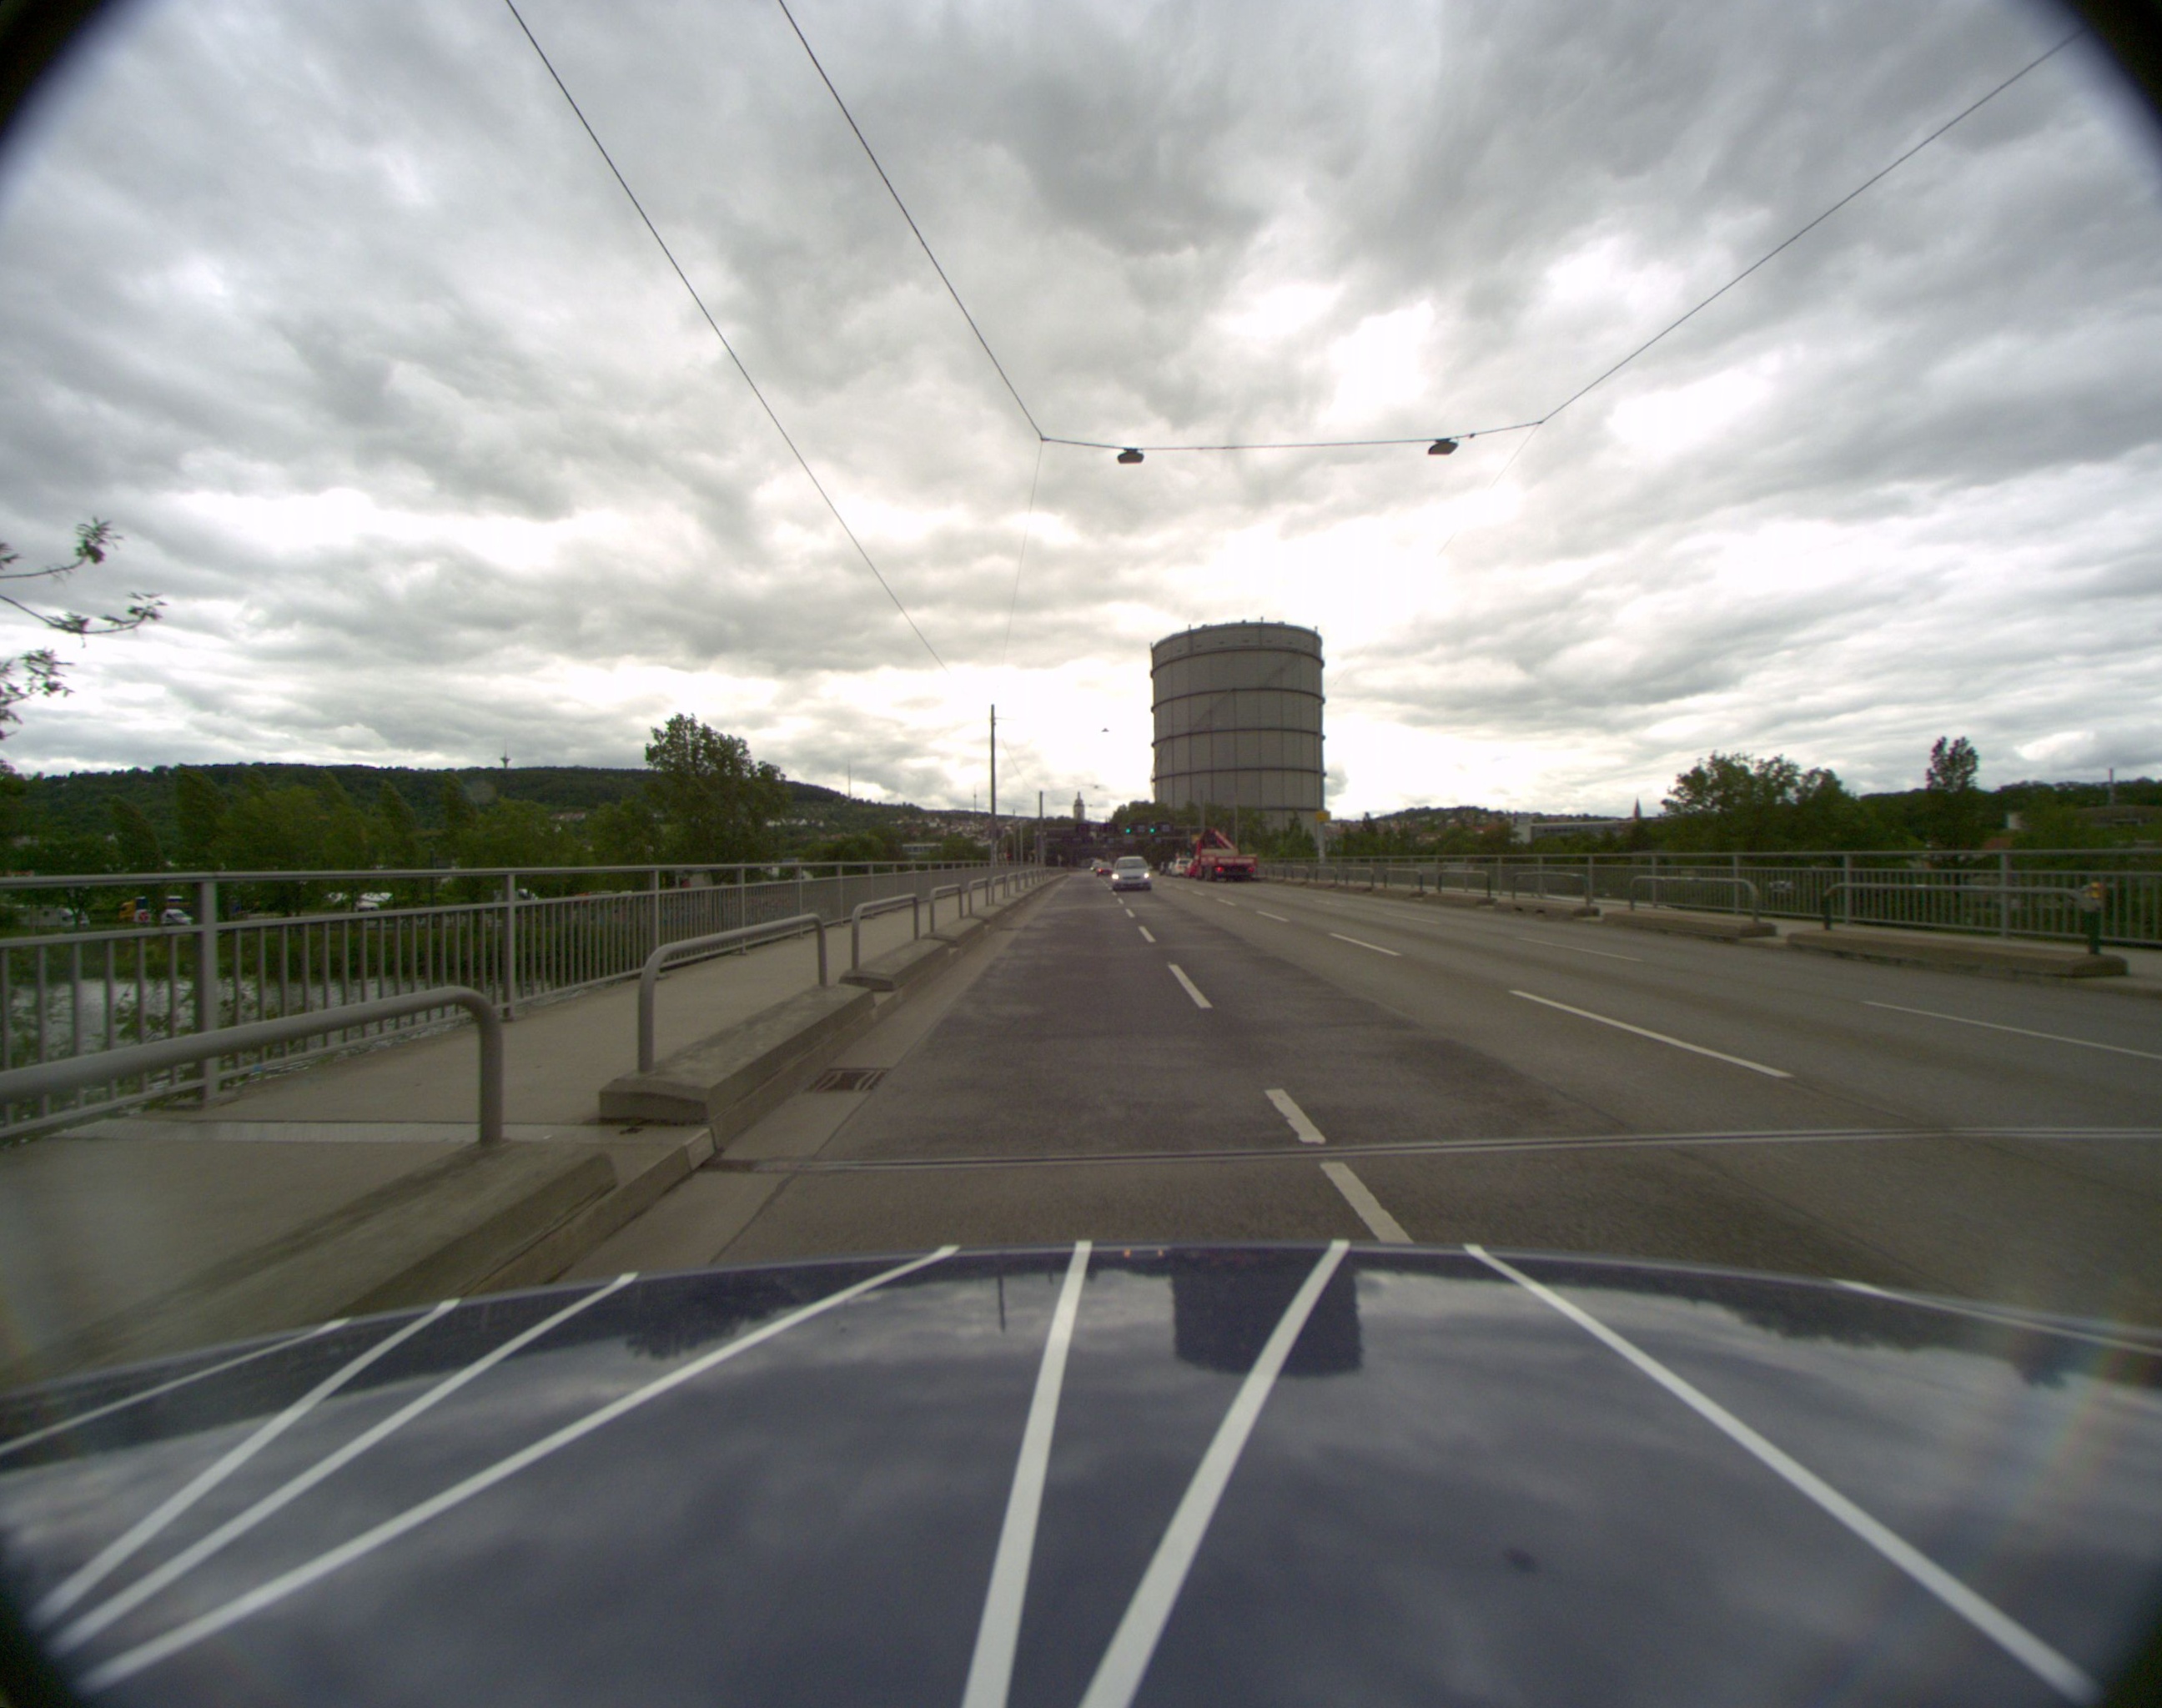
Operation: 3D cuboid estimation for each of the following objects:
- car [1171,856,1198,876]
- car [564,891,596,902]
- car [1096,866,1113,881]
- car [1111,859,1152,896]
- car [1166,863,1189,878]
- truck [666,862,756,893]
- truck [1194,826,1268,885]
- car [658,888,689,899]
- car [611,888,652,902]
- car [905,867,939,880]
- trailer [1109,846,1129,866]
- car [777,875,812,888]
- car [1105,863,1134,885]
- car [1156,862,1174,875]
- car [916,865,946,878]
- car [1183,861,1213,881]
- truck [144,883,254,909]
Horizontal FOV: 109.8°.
[{"bbox_3d":[9.496,1.107,70.019,1.884,1.750,4.803,0,-1,0],"label":"car"},{"bbox_3d":[-85.070,7.245,129.091,4.022,1.531,1.854,-3,0,0],"label":"car"},{"bbox_3d":[2.461,2.043,80.313,1.696,1.411,4.469,-1,-1,1],"label":"car"},{"bbox_3d":[2.348,1.090,35.979,1.747,1.594,3.683,-2,-1,2],"label":"car"},{"bbox_3d":[9.857,1.696,78.035,1.840,1.495,4.517,0,-1,0],"label":"car"},{"bbox_3d":[-50.062,3.168,103.083,10.423,3.856,3.226,-2,0,-3],"label":"truck"},{"bbox_3d":[9.711,0.138,50.558,3.013,3.544,9.983,0,-1,0],"label":"truck"},{"bbox_3d":[-69.902,6.798,130.325,4.022,1.531,2.285,-3,0,0],"label":"car"},{"bbox_3d":[-61.952,5.622,104.758,4.390,1.531,1.921,-3,0,-1],"label":"car"},{"bbox_3d":[-22.331,2.704,106.938,4.339,1.610,2.000,-3,1,0],"label":"car"},{"bbox_3d":[8.597,0.447,174.201,3.669,4.295,13.783,2,-1,0],"label":"trailer"},{"bbox_3d":[-38.893,3.750,103.366,4.045,1.531,1.695,-3,0,-1],"label":"car"},{"bbox_3d":[2.682,1.407,53.619,1.747,1.454,3.955,0,-1,-2],"label":"car"},{"bbox_3d":[9.679,1.664,87.877,1.840,1.495,3.872,0,-1,2],"label":"car"},{"bbox_3d":[-20.422,2.384,103.607,3.621,1.531,1.695,-3,0,-1],"label":"car"},{"bbox_3d":[9.580,1.408,62.679,1.884,1.593,4.016,0,-1,0],"label":"car"},{"bbox_3d":[-148.483,6.979,128.019,14.418,3.893,3.382,2,-1,0],"label":"truck"}]
